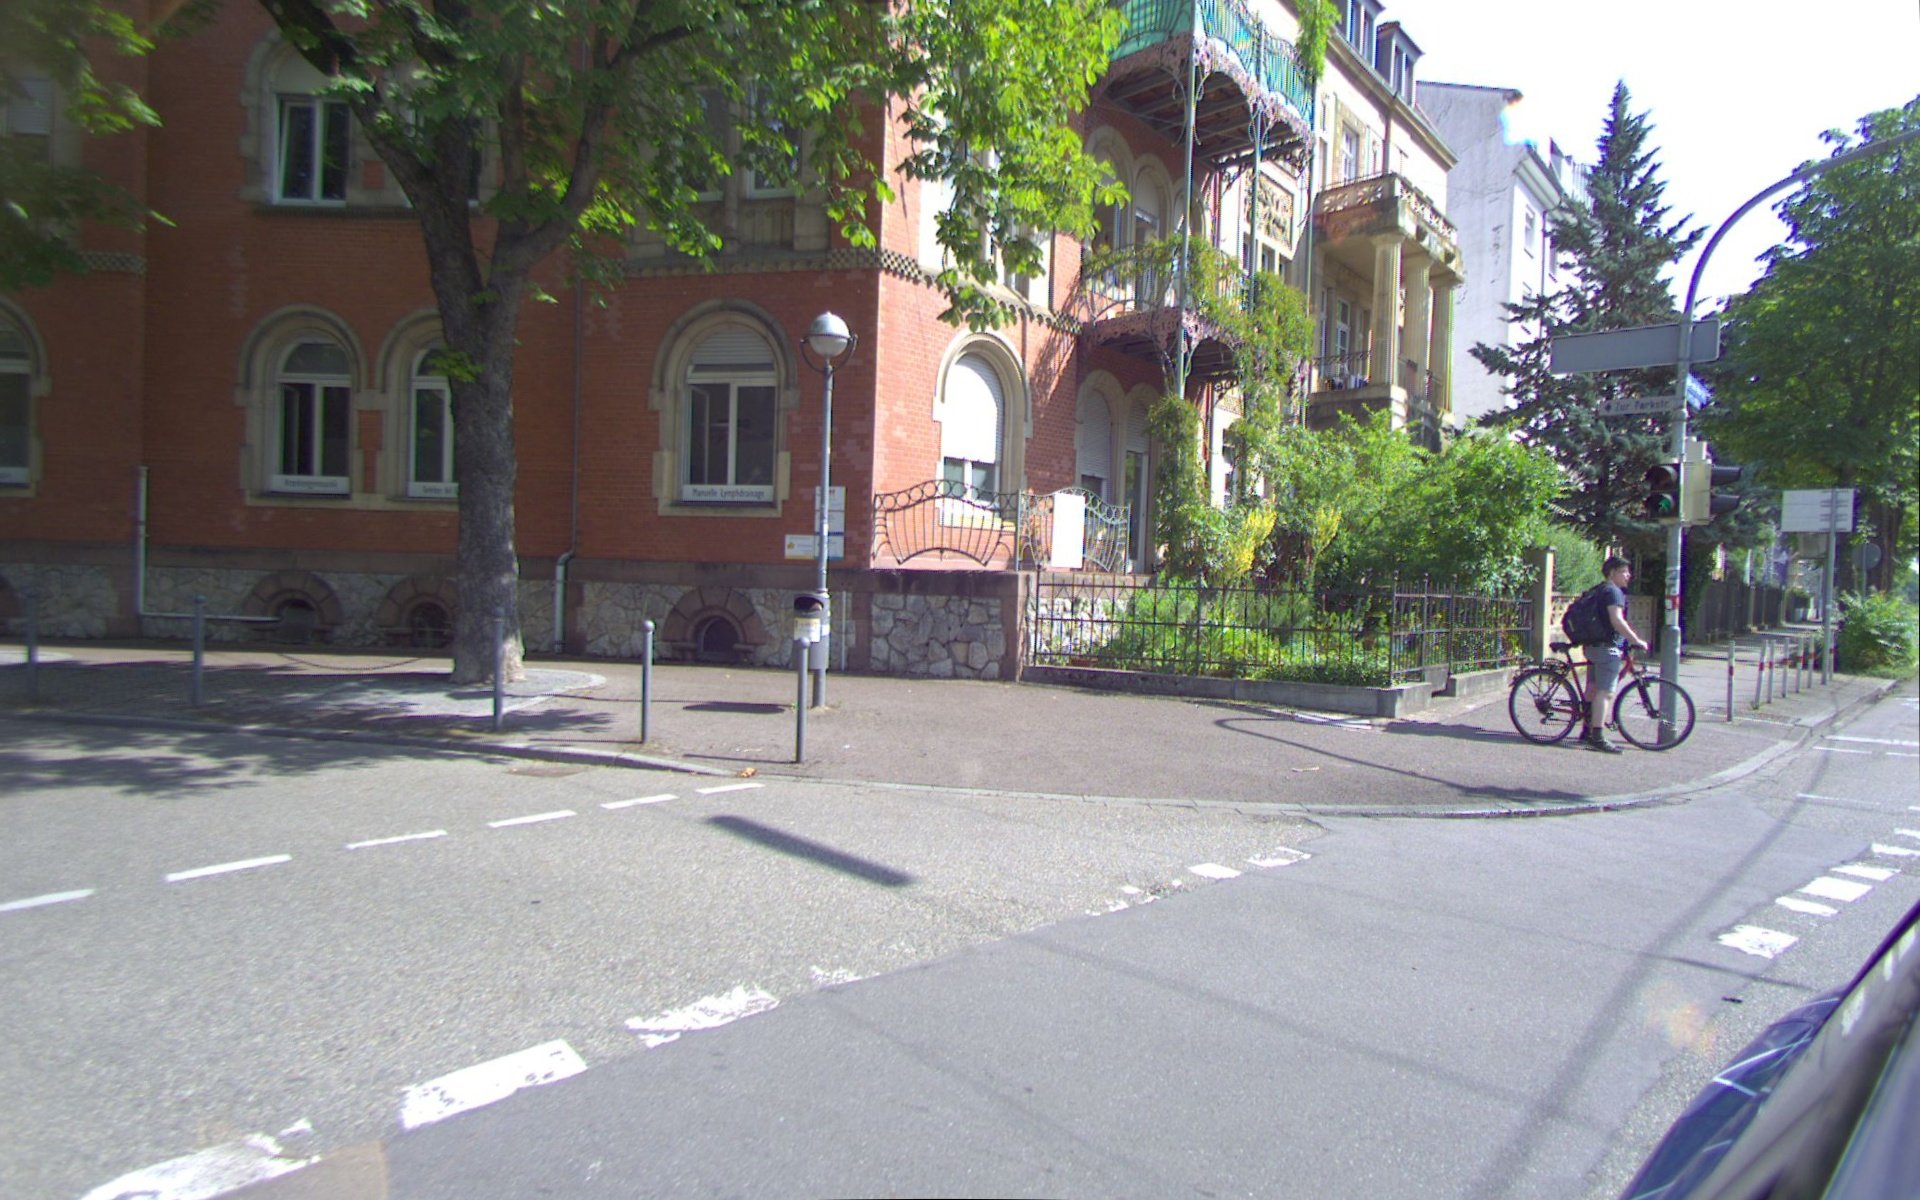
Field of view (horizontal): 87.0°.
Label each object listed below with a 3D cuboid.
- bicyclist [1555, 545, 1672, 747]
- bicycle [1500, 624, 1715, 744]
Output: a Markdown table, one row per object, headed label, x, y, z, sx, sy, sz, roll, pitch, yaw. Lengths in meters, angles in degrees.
| label | x | y | z | sx | sy | sz | roll | pitch | yaw |
| --- | --- | --- | --- | --- | --- | --- | --- | --- | --- |
| bicyclist | 6.283 | 0.411 | 9.775 | 0.726 | 1.842 | 0.815 | 2 | 1 | 21 |
| bicycle | 6.238 | 0.805 | 9.779 | 1.809 | 1.048 | 0.390 | 2 | 1 | -2 |
